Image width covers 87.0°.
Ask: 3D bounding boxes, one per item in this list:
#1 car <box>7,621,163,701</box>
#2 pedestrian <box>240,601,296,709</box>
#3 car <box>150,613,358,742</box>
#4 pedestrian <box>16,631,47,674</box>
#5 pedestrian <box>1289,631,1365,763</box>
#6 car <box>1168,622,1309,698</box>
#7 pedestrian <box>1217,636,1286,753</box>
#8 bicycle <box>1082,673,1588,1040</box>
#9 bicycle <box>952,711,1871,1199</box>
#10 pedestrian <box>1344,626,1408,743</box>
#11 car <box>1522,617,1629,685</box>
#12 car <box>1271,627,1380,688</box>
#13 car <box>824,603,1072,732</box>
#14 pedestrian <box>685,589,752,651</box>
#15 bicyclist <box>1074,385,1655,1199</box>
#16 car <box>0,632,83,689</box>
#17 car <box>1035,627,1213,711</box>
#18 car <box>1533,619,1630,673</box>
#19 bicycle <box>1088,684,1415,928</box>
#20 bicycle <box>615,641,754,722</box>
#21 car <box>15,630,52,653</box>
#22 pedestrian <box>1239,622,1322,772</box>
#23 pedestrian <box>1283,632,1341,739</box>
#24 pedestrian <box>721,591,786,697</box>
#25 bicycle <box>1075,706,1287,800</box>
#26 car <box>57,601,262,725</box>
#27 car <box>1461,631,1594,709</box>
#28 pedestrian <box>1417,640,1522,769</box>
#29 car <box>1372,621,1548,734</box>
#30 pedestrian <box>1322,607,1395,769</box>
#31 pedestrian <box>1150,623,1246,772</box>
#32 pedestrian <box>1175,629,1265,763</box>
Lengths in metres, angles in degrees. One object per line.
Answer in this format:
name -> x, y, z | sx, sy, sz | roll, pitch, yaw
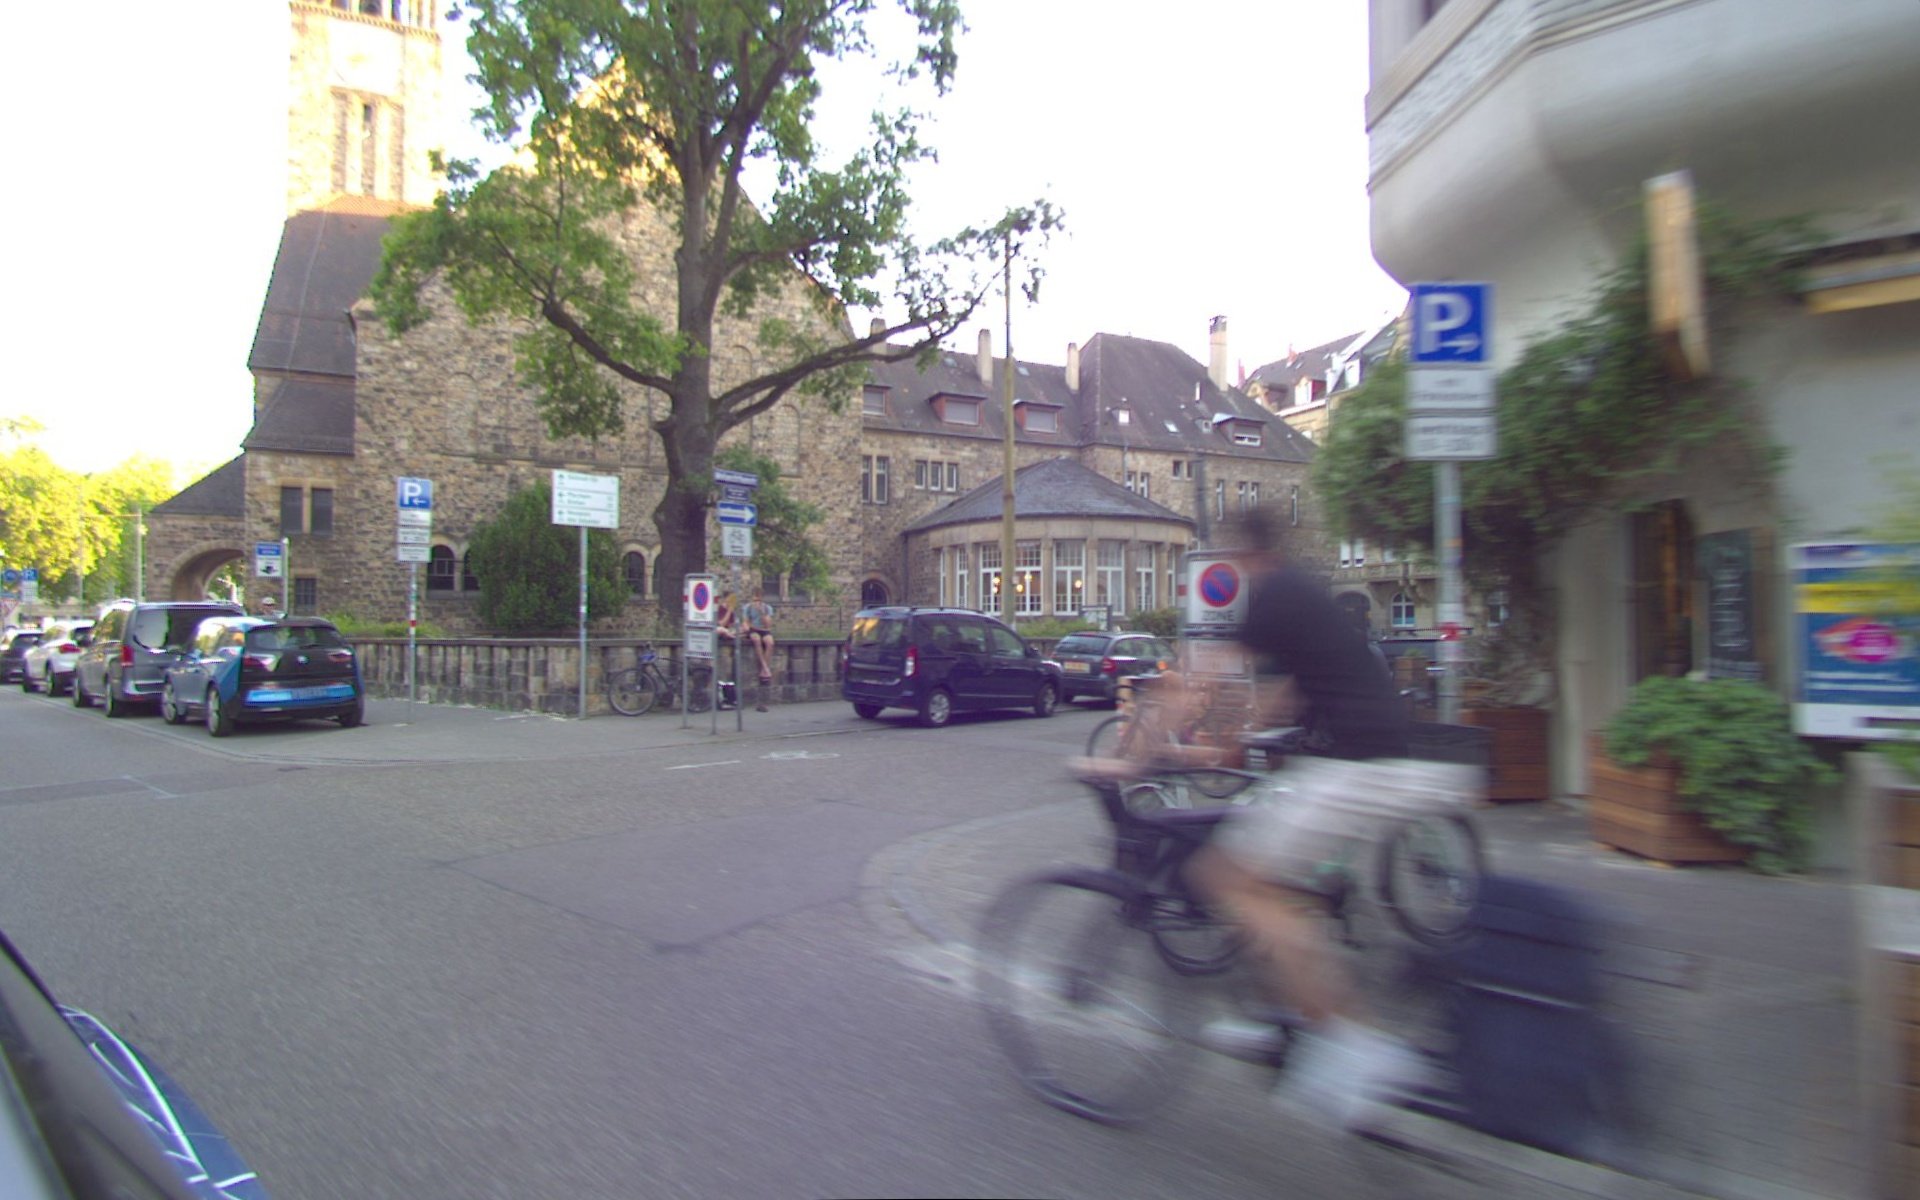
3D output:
car -> -19.506, 1.299, 22.499 | 4.463, 1.604, 1.853 | -2, -3, 39
pedestrian -> -12.566, 0.986, 18.375 | 0.802, 1.920, 0.576 | -2, -3, 37
car -> -10.197, 1.024, 14.506 | 4.003, 1.567, 1.623 | -2, -1, 43
pedestrian -> -37.709, 2.115, 41.096 | 0.689, 1.738, 0.709 | -1, -2, 31
pedestrian -> 4.204, 1.084, 11.610 | 0.644, 1.454, 0.566 | -2, -3, 41
car -> 6.762, 1.383, 24.297 | 1.719, 1.665, 4.157 | -2, -3, 39
pedestrian -> 3.677, 1.163, 12.776 | 0.644, 1.422, 0.566 | -2, -3, 41
bicycle -> 1.517, 0.880, 3.969 | 2.080, 1.103, 0.502 | 0, -3, -25
bicycle -> 0.897, 0.858, 2.439 | 1.902, 1.048, 0.608 | -2, -3, 40
pedestrian -> 5.588, 1.116, 13.595 | 0.644, 1.512, 0.566 | -2, -3, 39
car -> 15.936, 1.277, 26.106 | 1.739, 1.559, 4.095 | 1, -1, 40
car -> 10.314, 1.557, 28.396 | 1.632, 1.583, 3.984 | -2, -3, 39
car -> -0.099, 1.050, 16.677 | 1.891, 1.858, 3.942 | -2, -3, 43
pedestrian -> -3.934, 0.332, 16.521 | 0.836, 0.988, 0.699 | -2, -3, 39
bicyclist -> 0.918, 0.475, 2.424 | 1.142, 1.697, 0.596 | -2, -3, 41
car -> -25.519, 1.598, 27.677 | 4.314, 1.446, 1.764 | -2, -3, 42
car -> 3.416, 1.322, 20.542 | 1.719, 1.511, 4.157 | -2, -3, 39
car -> 23.570, 1.684, 38.608 | 1.793, 1.874, 5.141 | 1, -1, 16
bicycle -> 1.427, 0.976, 5.292 | 0.417, 1.020, 1.722 | 0, -3, -36
bicycle -> -4.208, 1.214, 15.601 | 0.555, 1.142, 2.117 | -2, -3, 41
car -> -81.936, 3.674, 89.518 | 1.837, 2.029, 3.820 | 1, -3, -35
pedestrian -> 3.293, 0.970, 10.406 | 0.644, 1.480, 0.566 | -2, -3, 39
pedestrian -> 4.951, 1.181, 14.245 | 0.573, 1.458, 0.636 | -2, -3, 39
pedestrian -> -3.476, 0.740, 17.072 | 0.836, 1.734, 0.699 | -2, -3, 39
bicycle -> 1.880, 1.297, 8.802 | 1.776, 0.701, 0.419 | -4, -4, 38
car -> -14.218, 1.042, 17.848 | 5.288, 1.881, 1.972 | -2, -2, 42
car -> 12.195, 1.420, 21.621 | 1.739, 1.440, 4.095 | 1, -1, 40
pedestrian -> 5.121, 1.014, 10.169 | 0.778, 1.224, 0.683 | -2, -3, 41
car -> 8.575, 1.222, 17.186 | 1.739, 1.630, 4.095 | 1, -1, 40
pedestrian -> 4.172, 0.897, 10.596 | 0.545, 1.633, 0.535 | -2, -3, 40
pedestrian -> 2.603, 1.037, 11.074 | 0.783, 1.552, 0.695 | -2, -3, 39
pedestrian -> 3.011, 1.081, 11.734 | 0.783, 1.480, 0.695 | -2, -3, 39
